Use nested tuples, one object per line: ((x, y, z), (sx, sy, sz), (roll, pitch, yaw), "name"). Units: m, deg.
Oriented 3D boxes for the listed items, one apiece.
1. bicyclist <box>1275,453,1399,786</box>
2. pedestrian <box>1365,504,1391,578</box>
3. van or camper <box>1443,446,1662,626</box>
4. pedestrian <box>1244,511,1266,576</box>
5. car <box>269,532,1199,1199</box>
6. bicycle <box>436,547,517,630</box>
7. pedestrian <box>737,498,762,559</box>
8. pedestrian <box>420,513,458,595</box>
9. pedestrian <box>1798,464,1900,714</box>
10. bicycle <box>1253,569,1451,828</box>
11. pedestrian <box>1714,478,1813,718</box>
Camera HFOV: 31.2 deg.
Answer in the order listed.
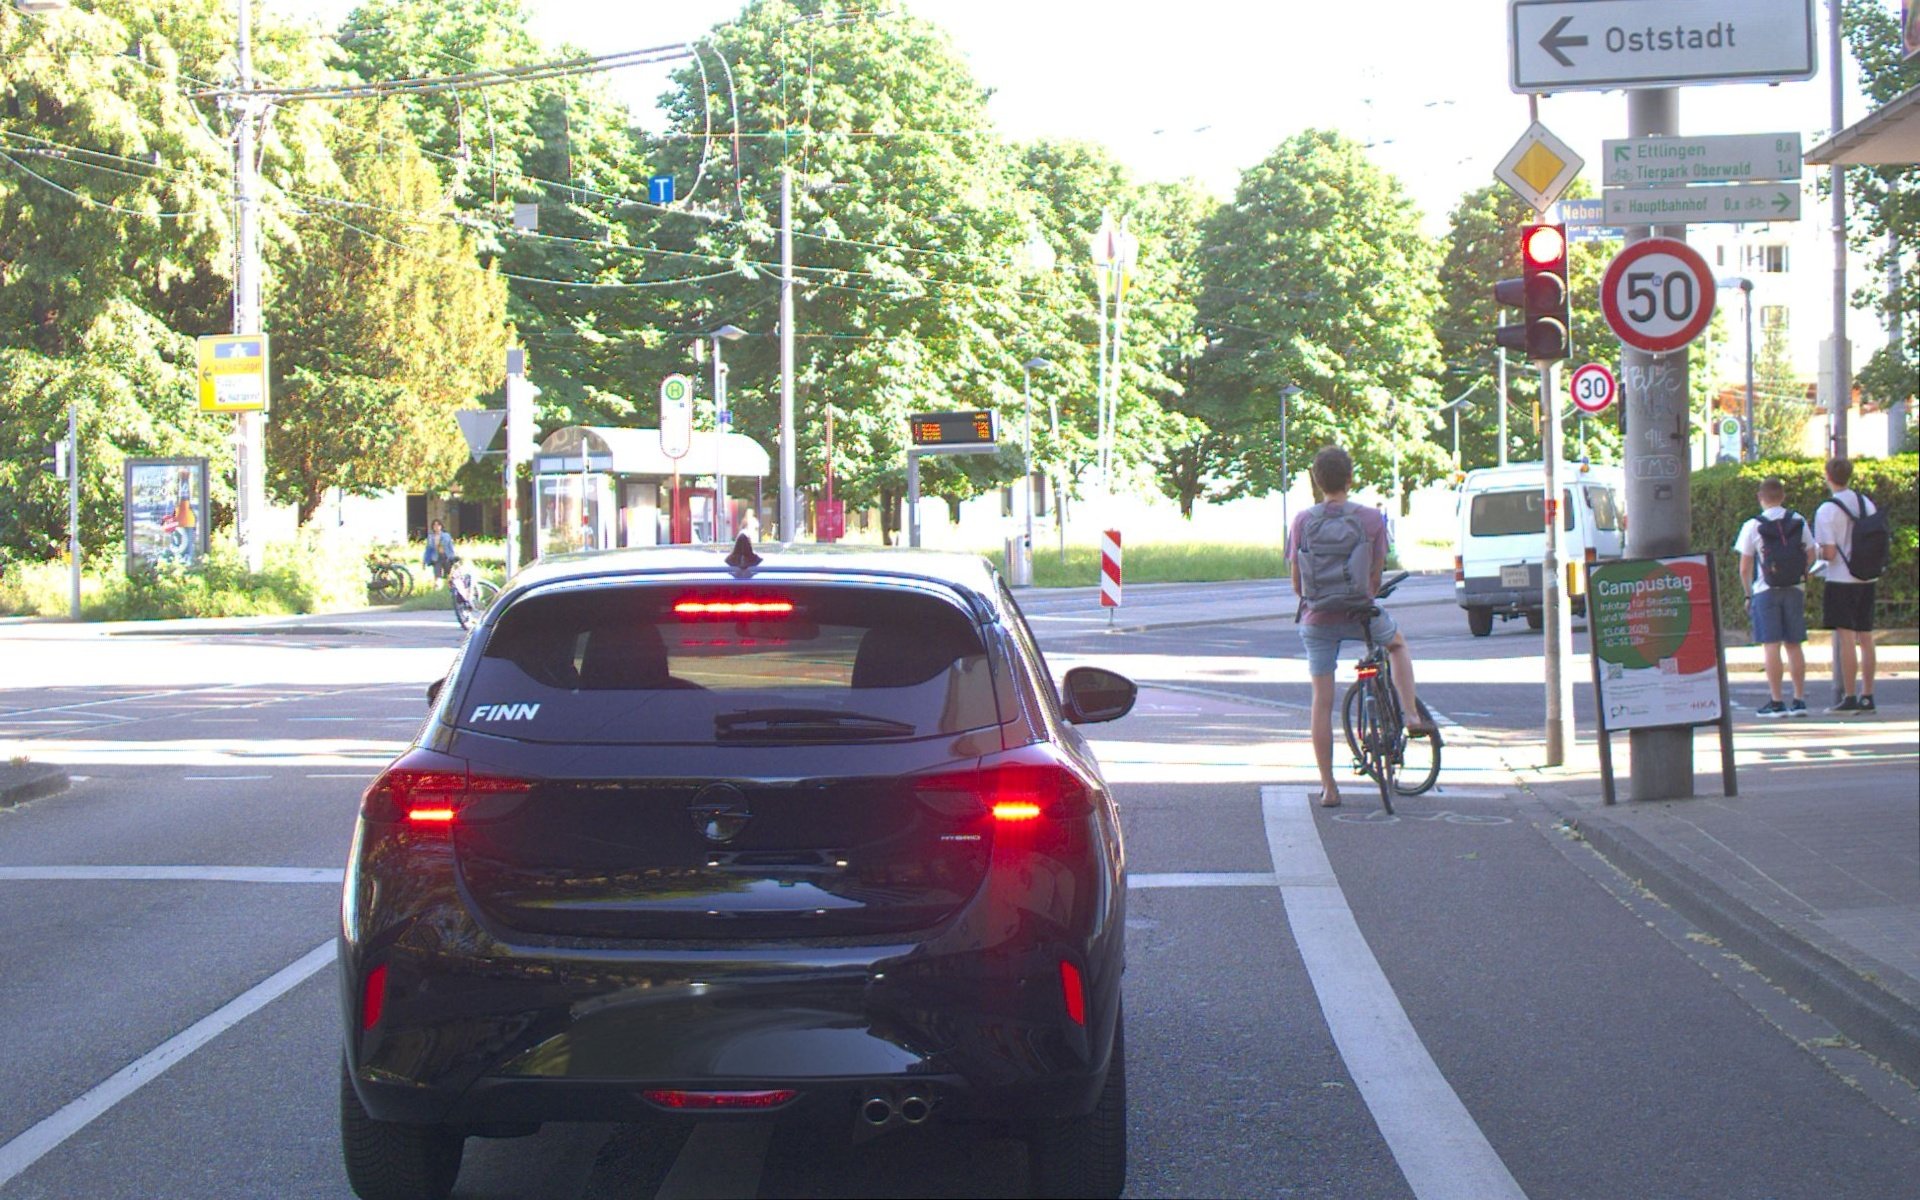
((1.951, 0.093, 17.767), (0.534, 1.686, 0.567), (0, 1, 17), "bicyclist")
((10.494, -1.478, 86.334), (0.604, 1.865, 0.519), (1, 0, 10), "pedestrian")
((8.029, -0.841, 46.268), (2.031, 2.302, 4.535), (1, 1, 21), "van or camper")
((8.578, -1.640, 99.895), (0.604, 1.865, 0.519), (1, 0, 7), "pedestrian")
((-0.470, 0.566, 8.814), (1.840, 1.457, 3.984), (0, 1, -1), "car")
((-6.489, -0.166, 46.221), (0.796, 1.061, 2.185), (0, 1, -1), "bicycle")
((-6.531, -2.212, 106.618), (0.737, 1.865, 0.662), (1, 0, -6), "pedestrian")
((-9.471, -0.841, 62.516), (0.570, 1.467, 0.666), (-1, 1, -1), "pedestrian")
((6.576, -0.082, 25.415), (0.633, 1.814, 0.744), (1, 0, 20), "pedestrian")
((2.061, 0.473, 17.856), (0.753, 1.231, 2.014), (0, 1, 14), "bicycle")
((5.972, -0.021, 25.541), (0.633, 1.757, 0.582), (1, 0, 20), "pedestrian")
